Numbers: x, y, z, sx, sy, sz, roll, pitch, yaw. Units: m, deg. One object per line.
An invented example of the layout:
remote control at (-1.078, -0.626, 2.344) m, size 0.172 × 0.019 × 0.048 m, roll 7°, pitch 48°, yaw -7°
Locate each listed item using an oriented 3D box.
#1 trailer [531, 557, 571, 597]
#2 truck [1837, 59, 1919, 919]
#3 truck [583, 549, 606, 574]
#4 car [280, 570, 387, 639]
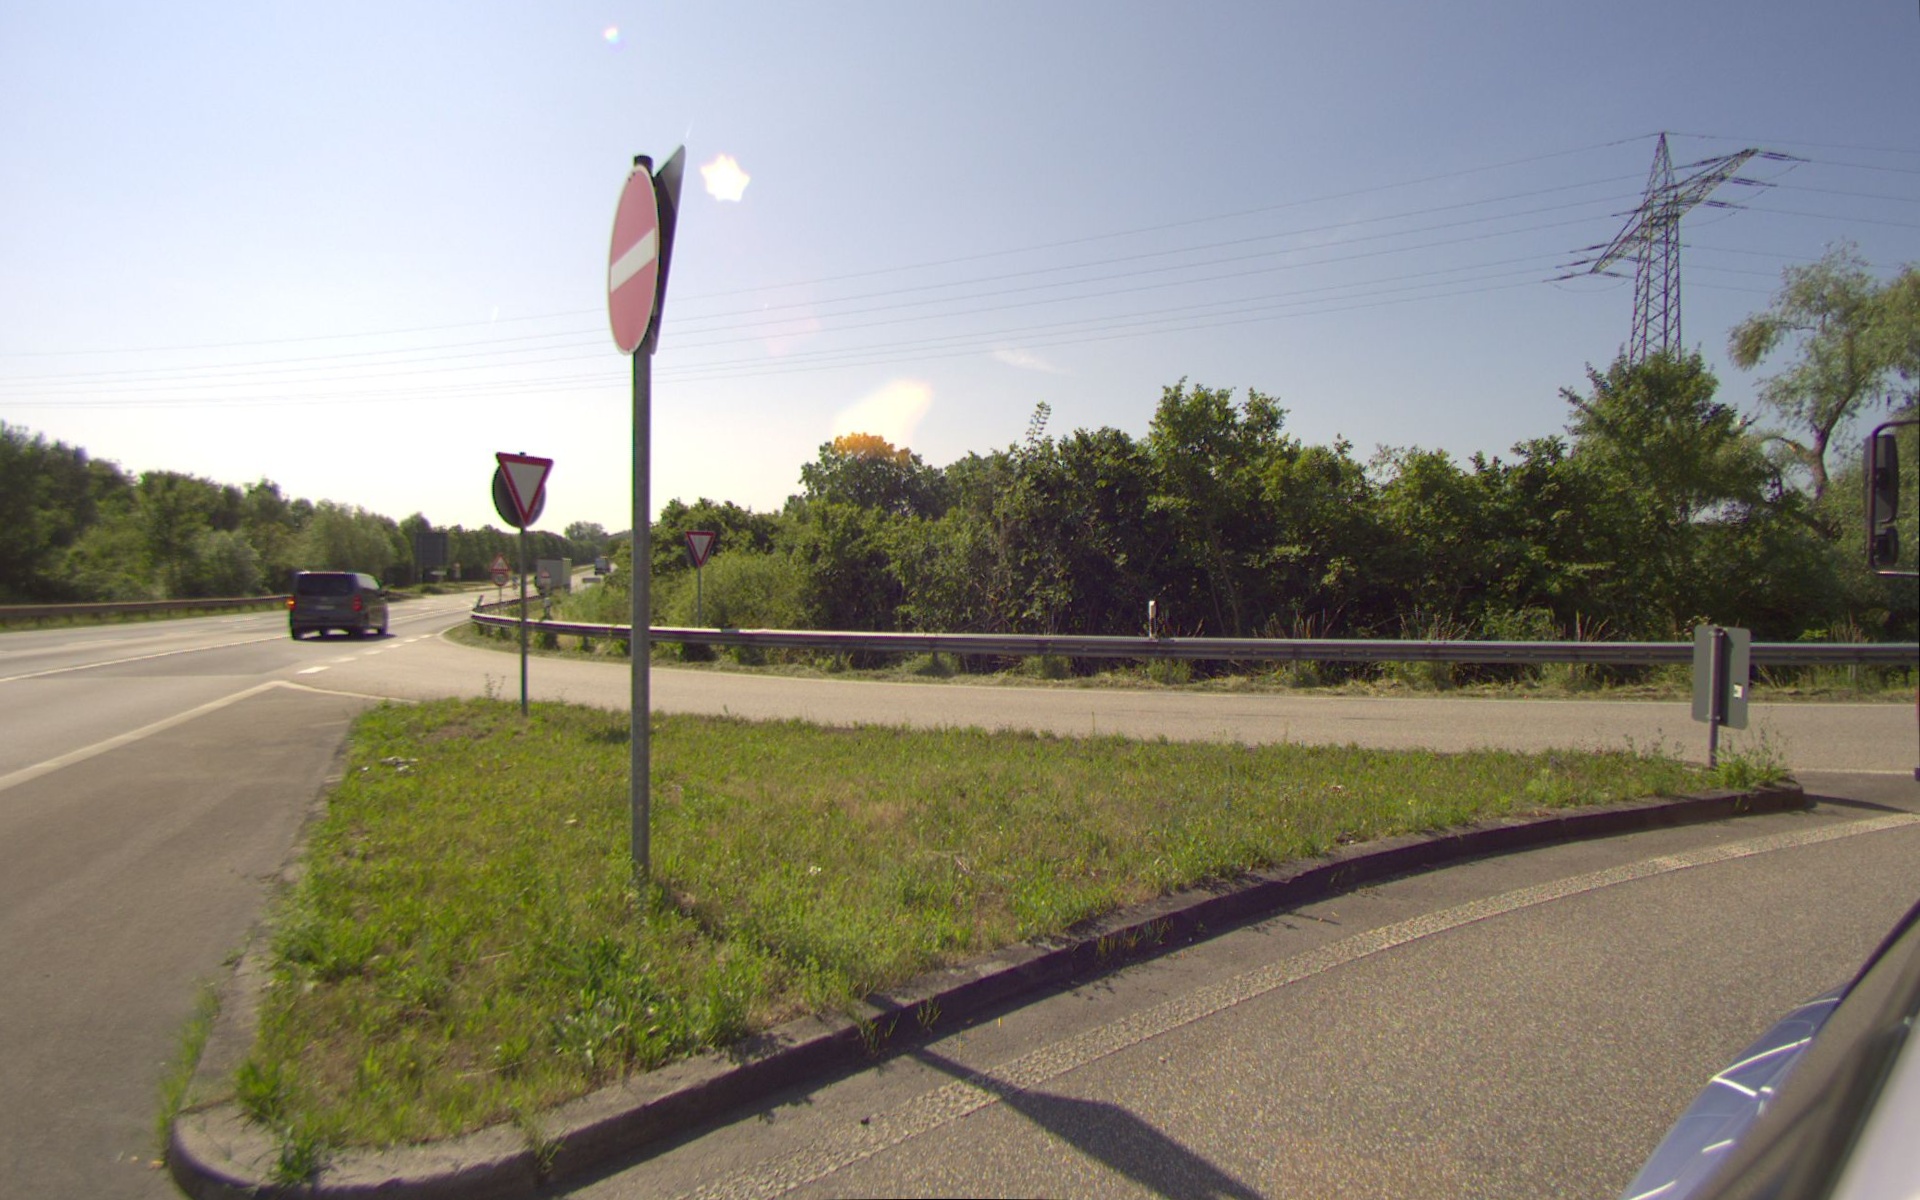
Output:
trailer at (-44.647, -2.523, 110.848) m, size 2.868 × 4.061 × 13.446 m, roll 1°, pitch 1°, yaw -17°
truck at (8.696, -0.468, 5.293) m, size 9.070 × 3.707 × 2.696 m, roll 0°, pitch 0°, yaw -25°
truck at (-86.259, -8.911, 238.815) m, size 4.051 × 5.524 × 13.635 m, roll 0°, pitch 1°, yaw -15°
car at (-18.748, 0.112, 30.502) m, size 1.958 × 1.903 × 5.003 m, roll 0°, pitch 0°, yaw -23°
